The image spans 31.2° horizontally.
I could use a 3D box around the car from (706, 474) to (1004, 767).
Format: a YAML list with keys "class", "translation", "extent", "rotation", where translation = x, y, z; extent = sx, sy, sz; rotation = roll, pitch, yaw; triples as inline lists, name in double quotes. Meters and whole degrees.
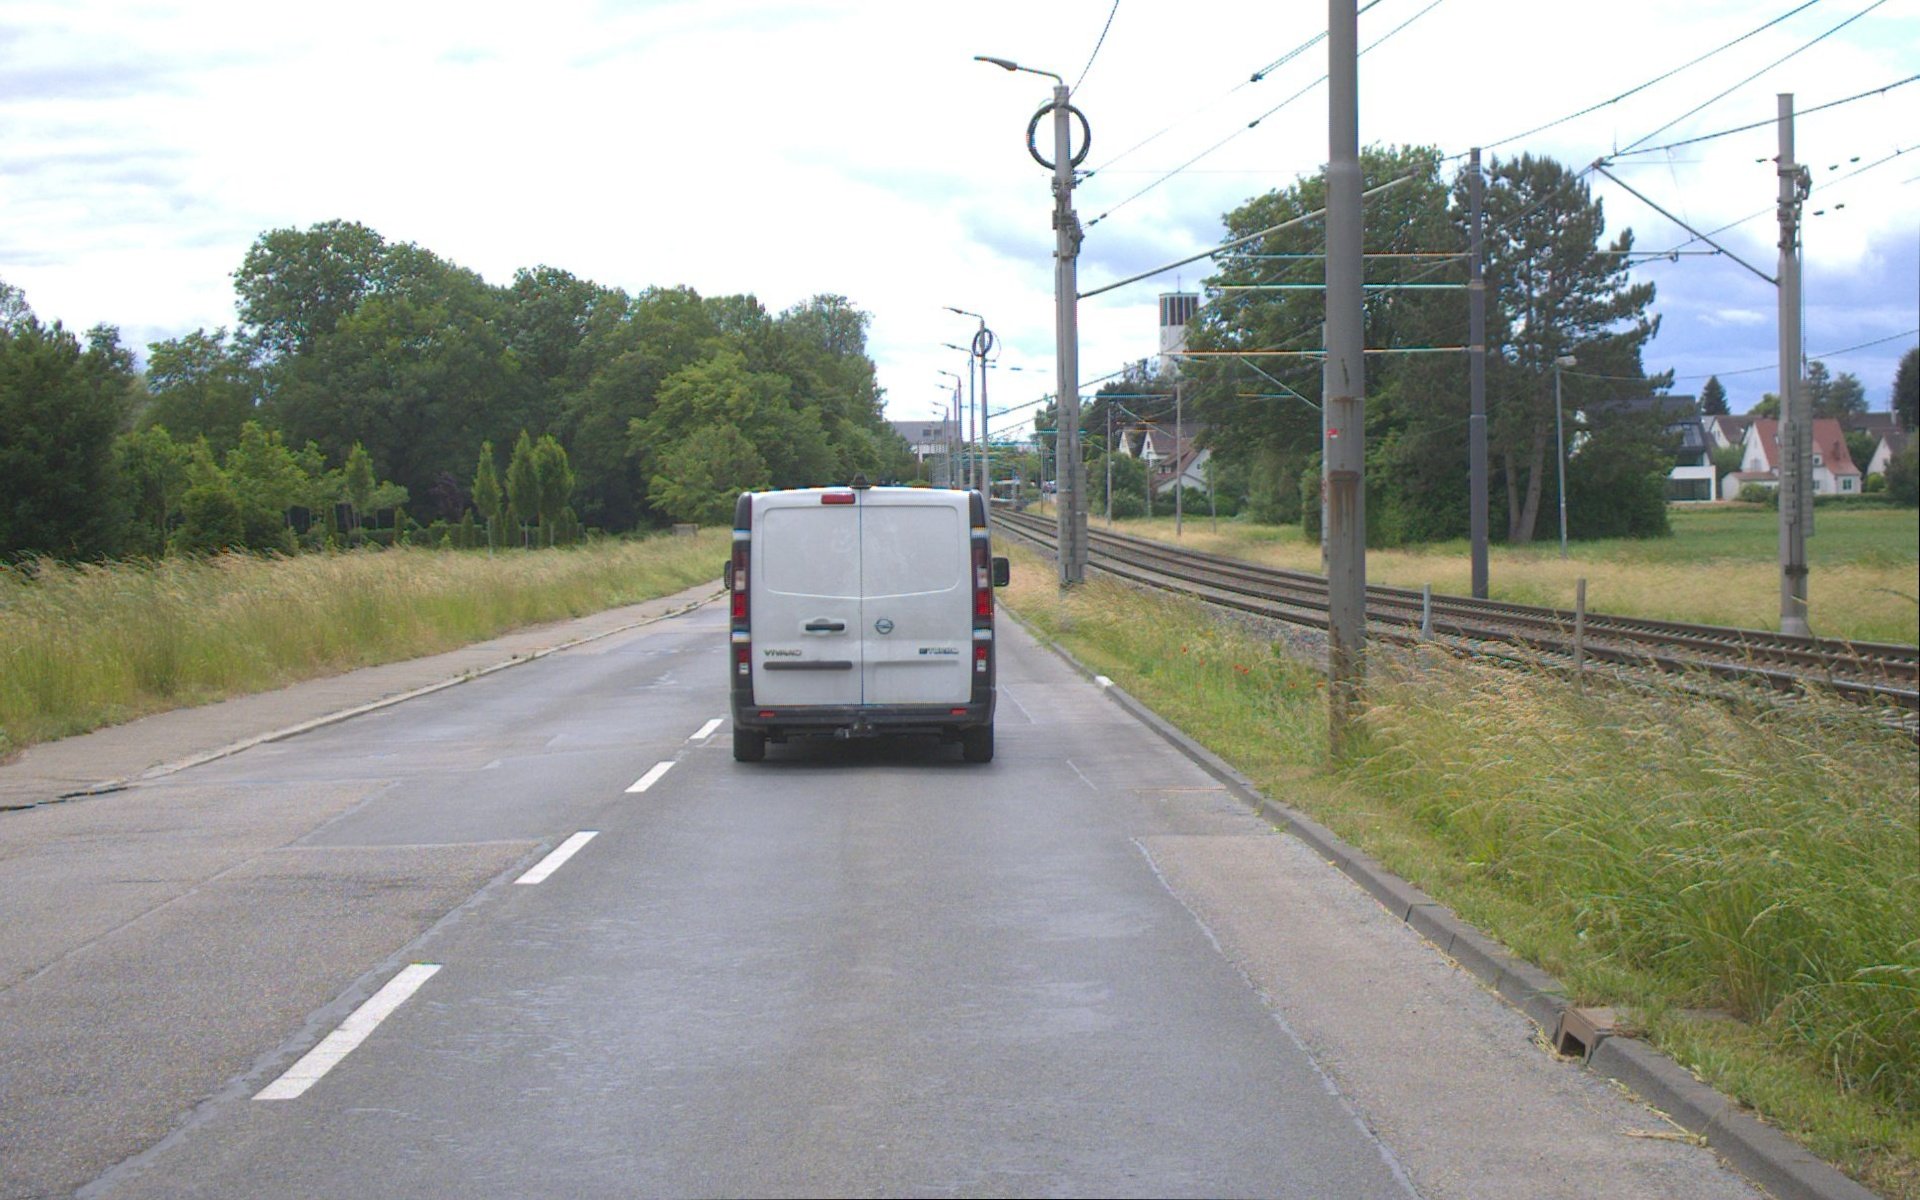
- class: "car"
  translation: [-0.771, 0.104, 25.274]
  extent: [1.993, 1.950, 4.000]
  rotation: [-1, 1, -2]
